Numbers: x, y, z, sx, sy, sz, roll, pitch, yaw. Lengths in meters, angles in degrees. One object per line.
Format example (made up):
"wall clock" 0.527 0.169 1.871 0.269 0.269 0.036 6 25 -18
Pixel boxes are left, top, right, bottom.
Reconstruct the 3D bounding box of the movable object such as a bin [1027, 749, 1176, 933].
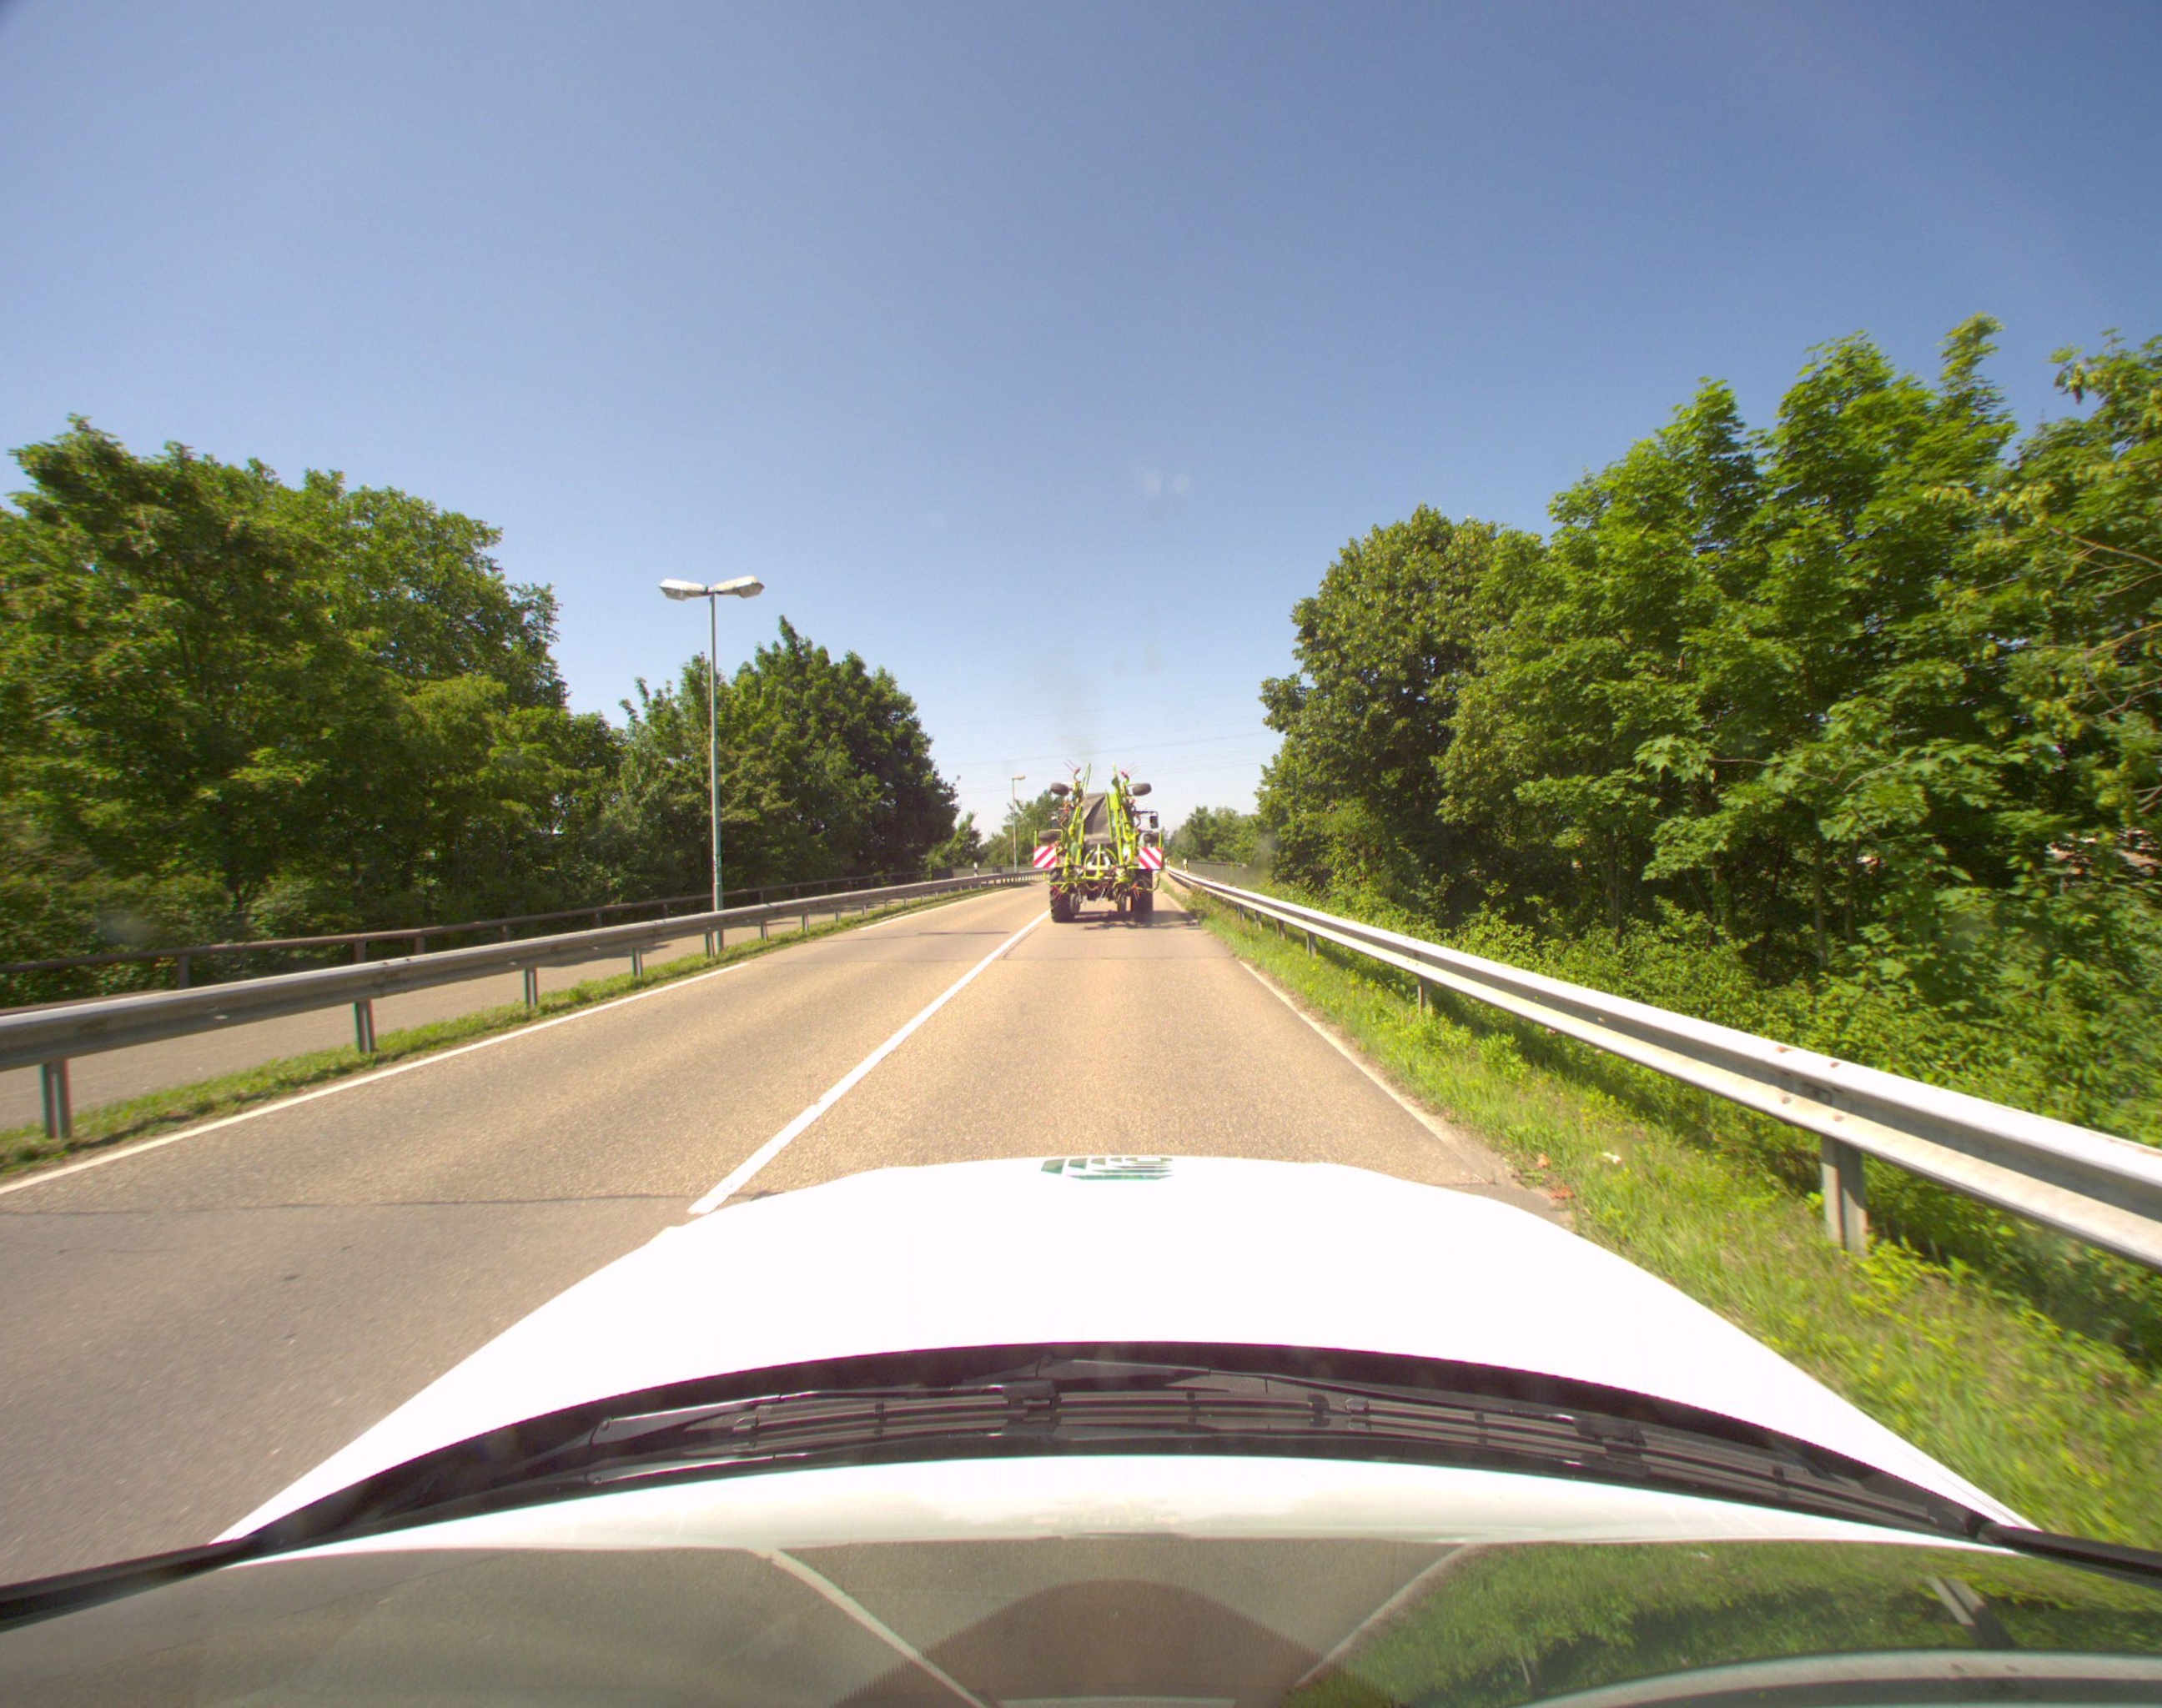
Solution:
"movable object such as a bin" 0.449 -0.244 18.359 2.745 3.444 5.671 -1 0 1
